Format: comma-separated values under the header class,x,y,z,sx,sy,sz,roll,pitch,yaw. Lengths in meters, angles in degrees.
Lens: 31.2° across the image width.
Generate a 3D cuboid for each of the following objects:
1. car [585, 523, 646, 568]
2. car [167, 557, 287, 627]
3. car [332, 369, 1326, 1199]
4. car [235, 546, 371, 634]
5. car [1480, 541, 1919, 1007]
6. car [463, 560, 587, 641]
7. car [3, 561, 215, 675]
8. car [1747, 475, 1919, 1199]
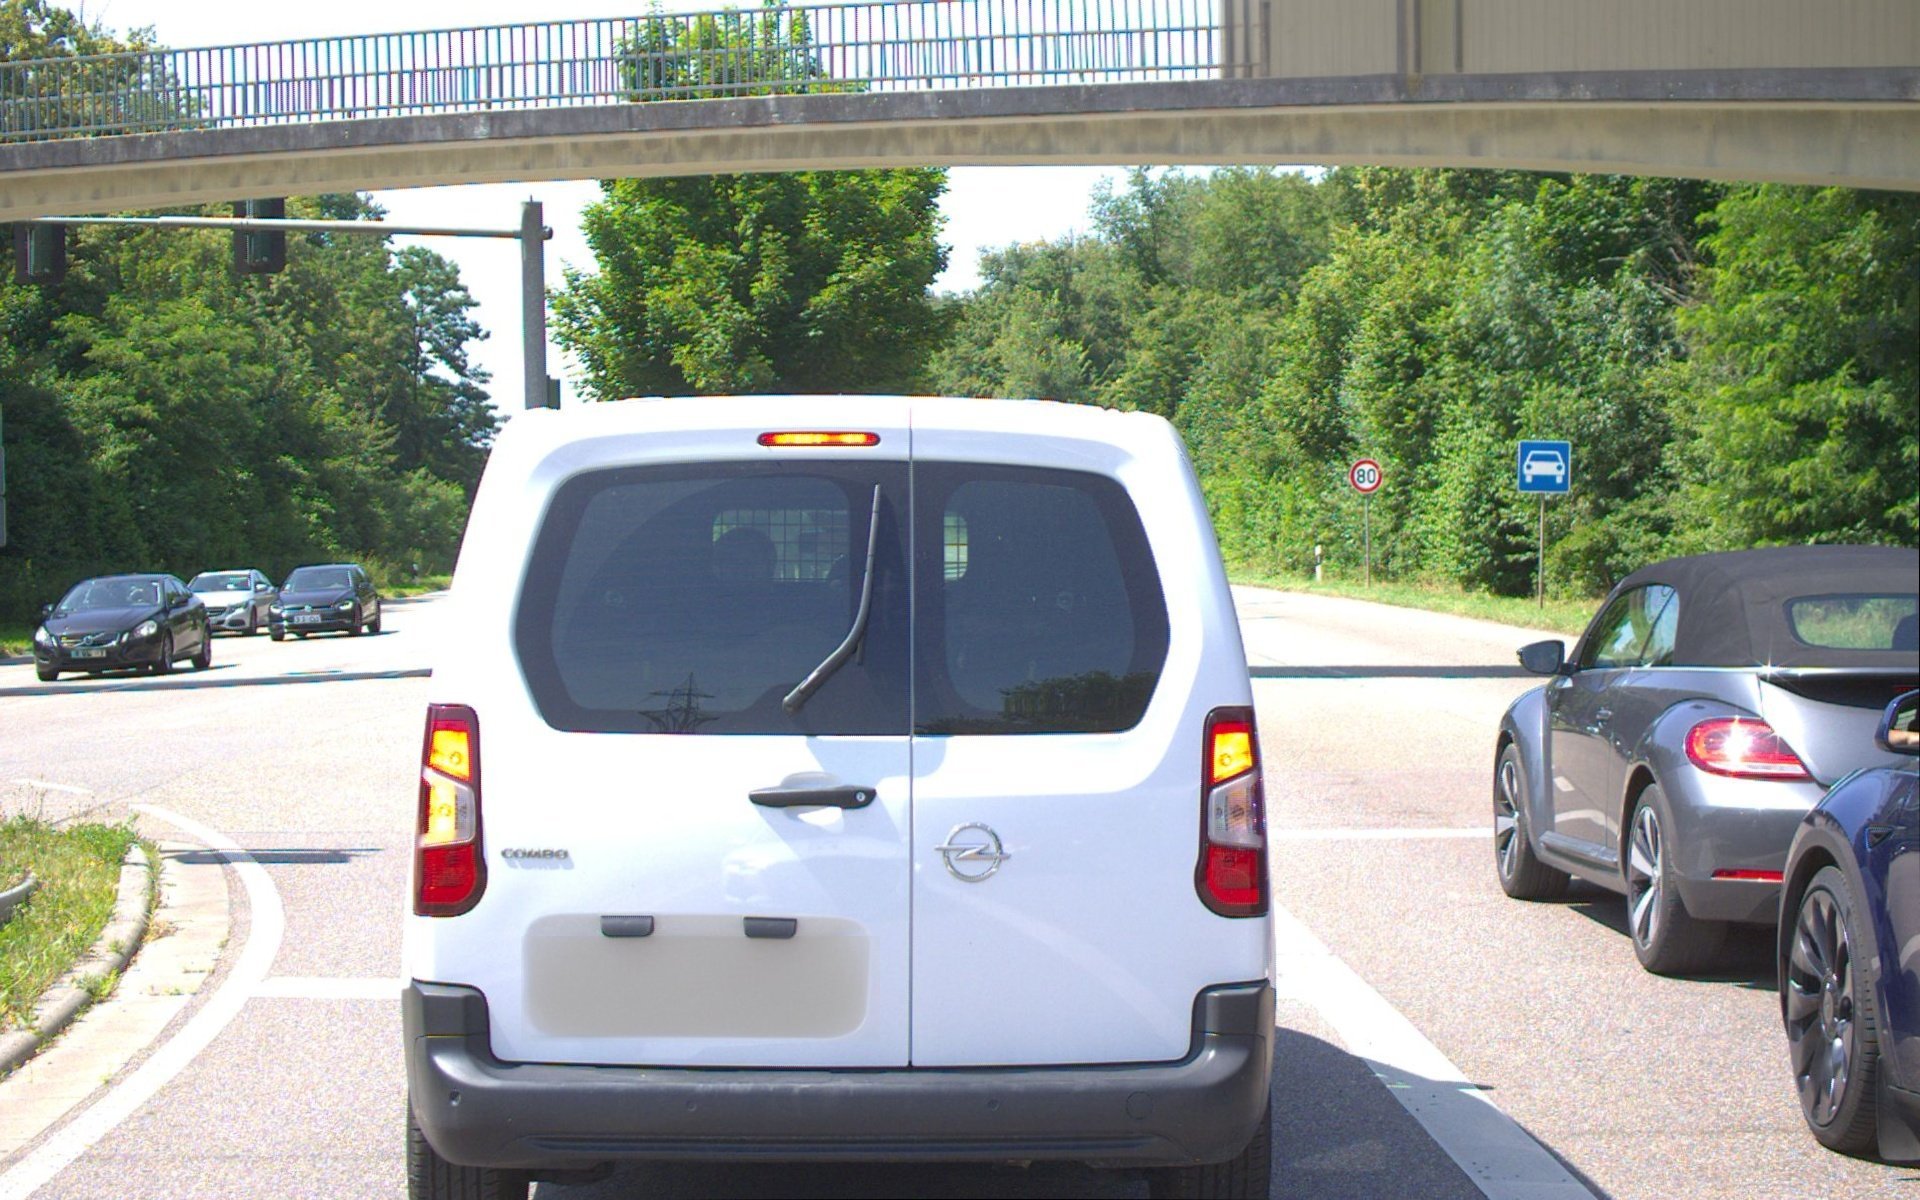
class,x,y,z,sx,sy,sz,roll,pitch,yaw
car,-13.338,-2.127,133.350,1.993,1.659,4.000,-1,1,-1
car,-15.793,-0.201,74.267,1.752,1.402,4.000,-1,1,-1
car,-0.299,0.427,8.447,1.849,1.819,3.982,1,2,-2
car,-13.226,-0.235,69.412,1.993,1.659,4.000,-1,1,-1
car,3.245,0.532,12.989,1.900,1.472,3.939,1,1,-1
car,-8.781,-0.018,69.652,1.993,1.518,4.028,2,1,-1
car,-12.062,0.220,49.002,2.008,1.455,4.055,-2,1,-1
car,3.058,0.572,6.785,1.900,1.639,4.520,1,1,-1
